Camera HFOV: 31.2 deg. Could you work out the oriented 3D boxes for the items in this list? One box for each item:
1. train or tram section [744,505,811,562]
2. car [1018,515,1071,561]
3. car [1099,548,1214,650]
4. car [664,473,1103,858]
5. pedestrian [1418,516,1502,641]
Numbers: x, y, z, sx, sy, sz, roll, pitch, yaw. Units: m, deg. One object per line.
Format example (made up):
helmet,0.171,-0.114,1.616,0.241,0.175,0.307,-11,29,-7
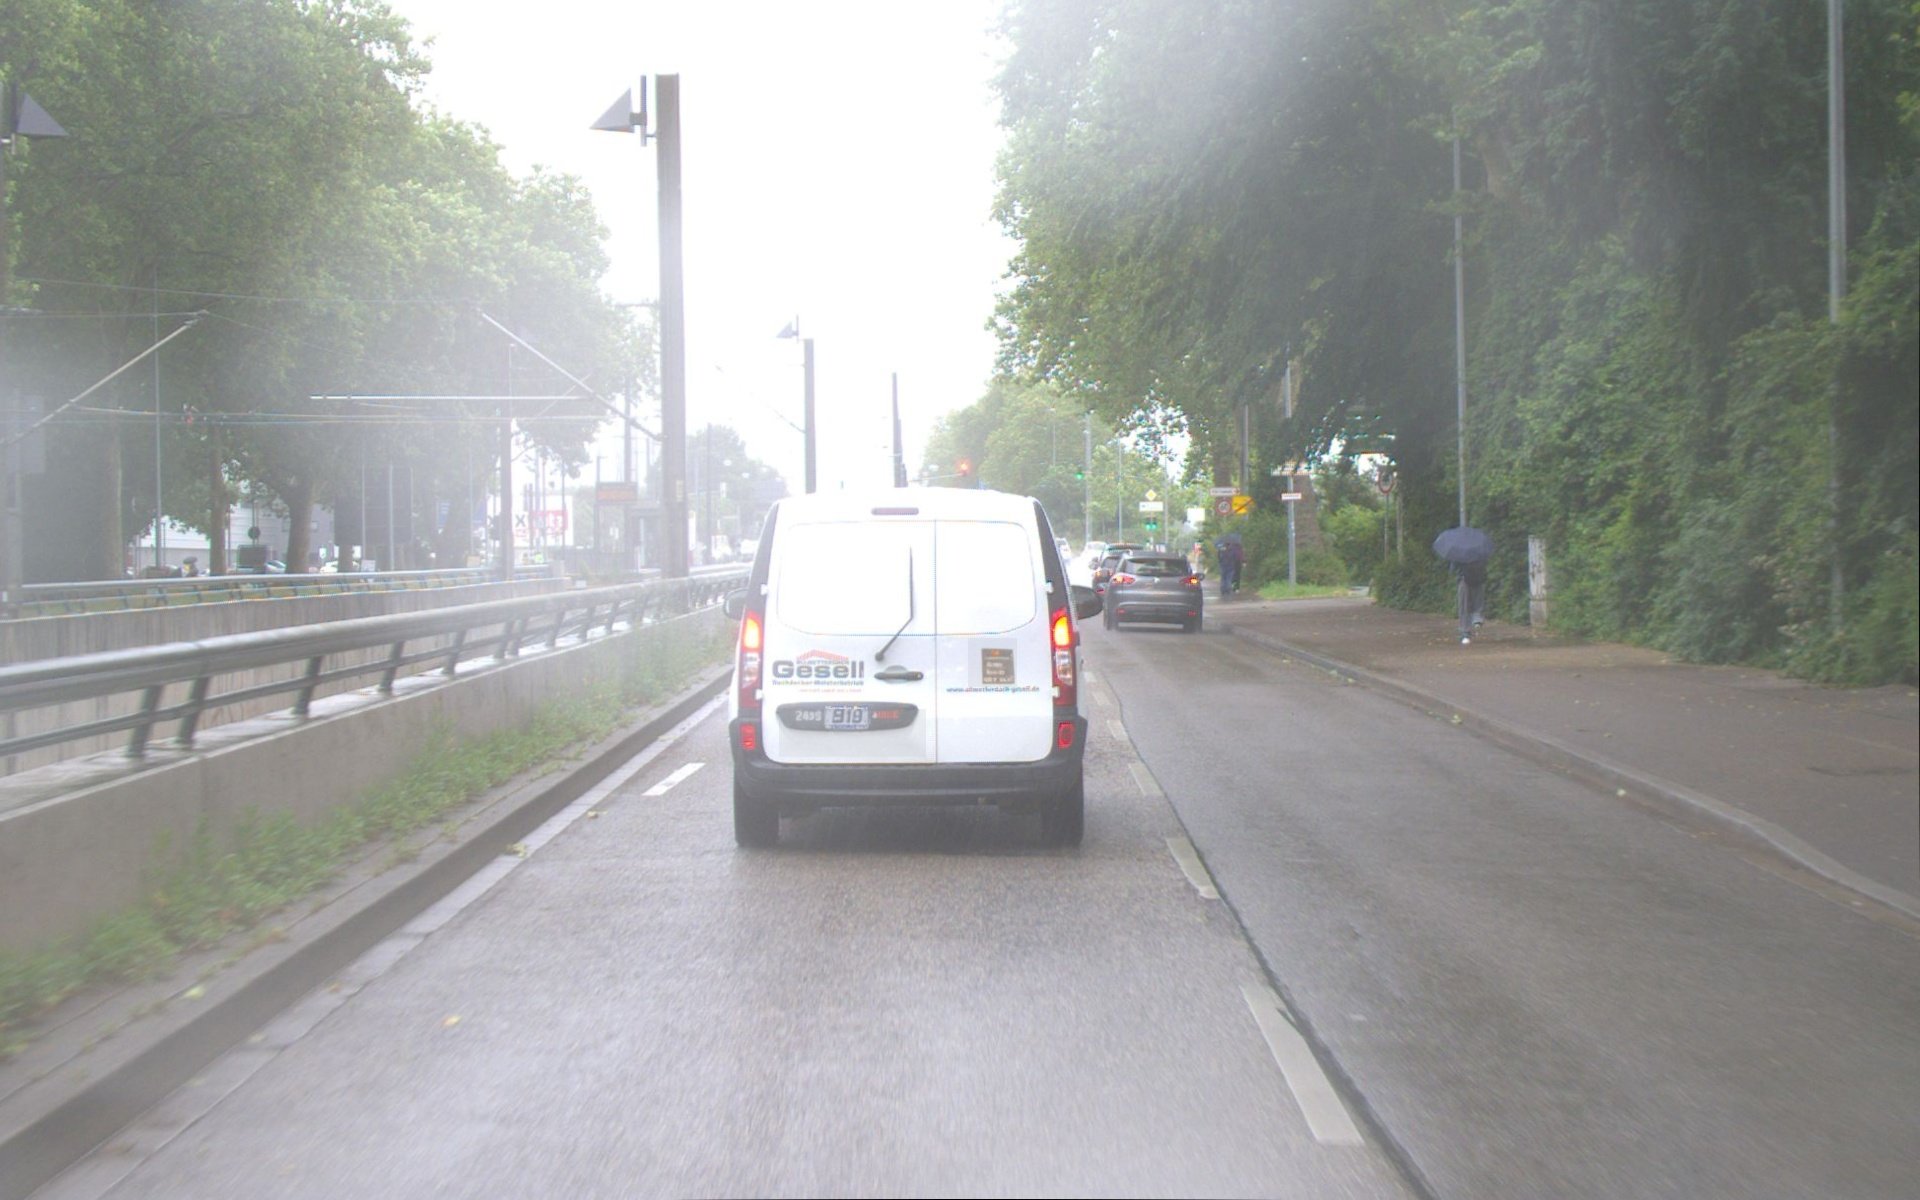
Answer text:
train or tram section,-13.892,-5.044,263.937,3.770,4.022,27.094,1,1,0
car,3.315,-2.437,135.084,1.993,1.744,4.000,1,1,1
car,3.610,-0.041,62.657,1.994,1.744,4.000,1,1,4
car,-0.392,0.276,18.355,2.025,1.769,4.274,1,1,-1
pedestrian,6.889,-0.300,47.387,0.967,1.696,1.141,1,1,1
